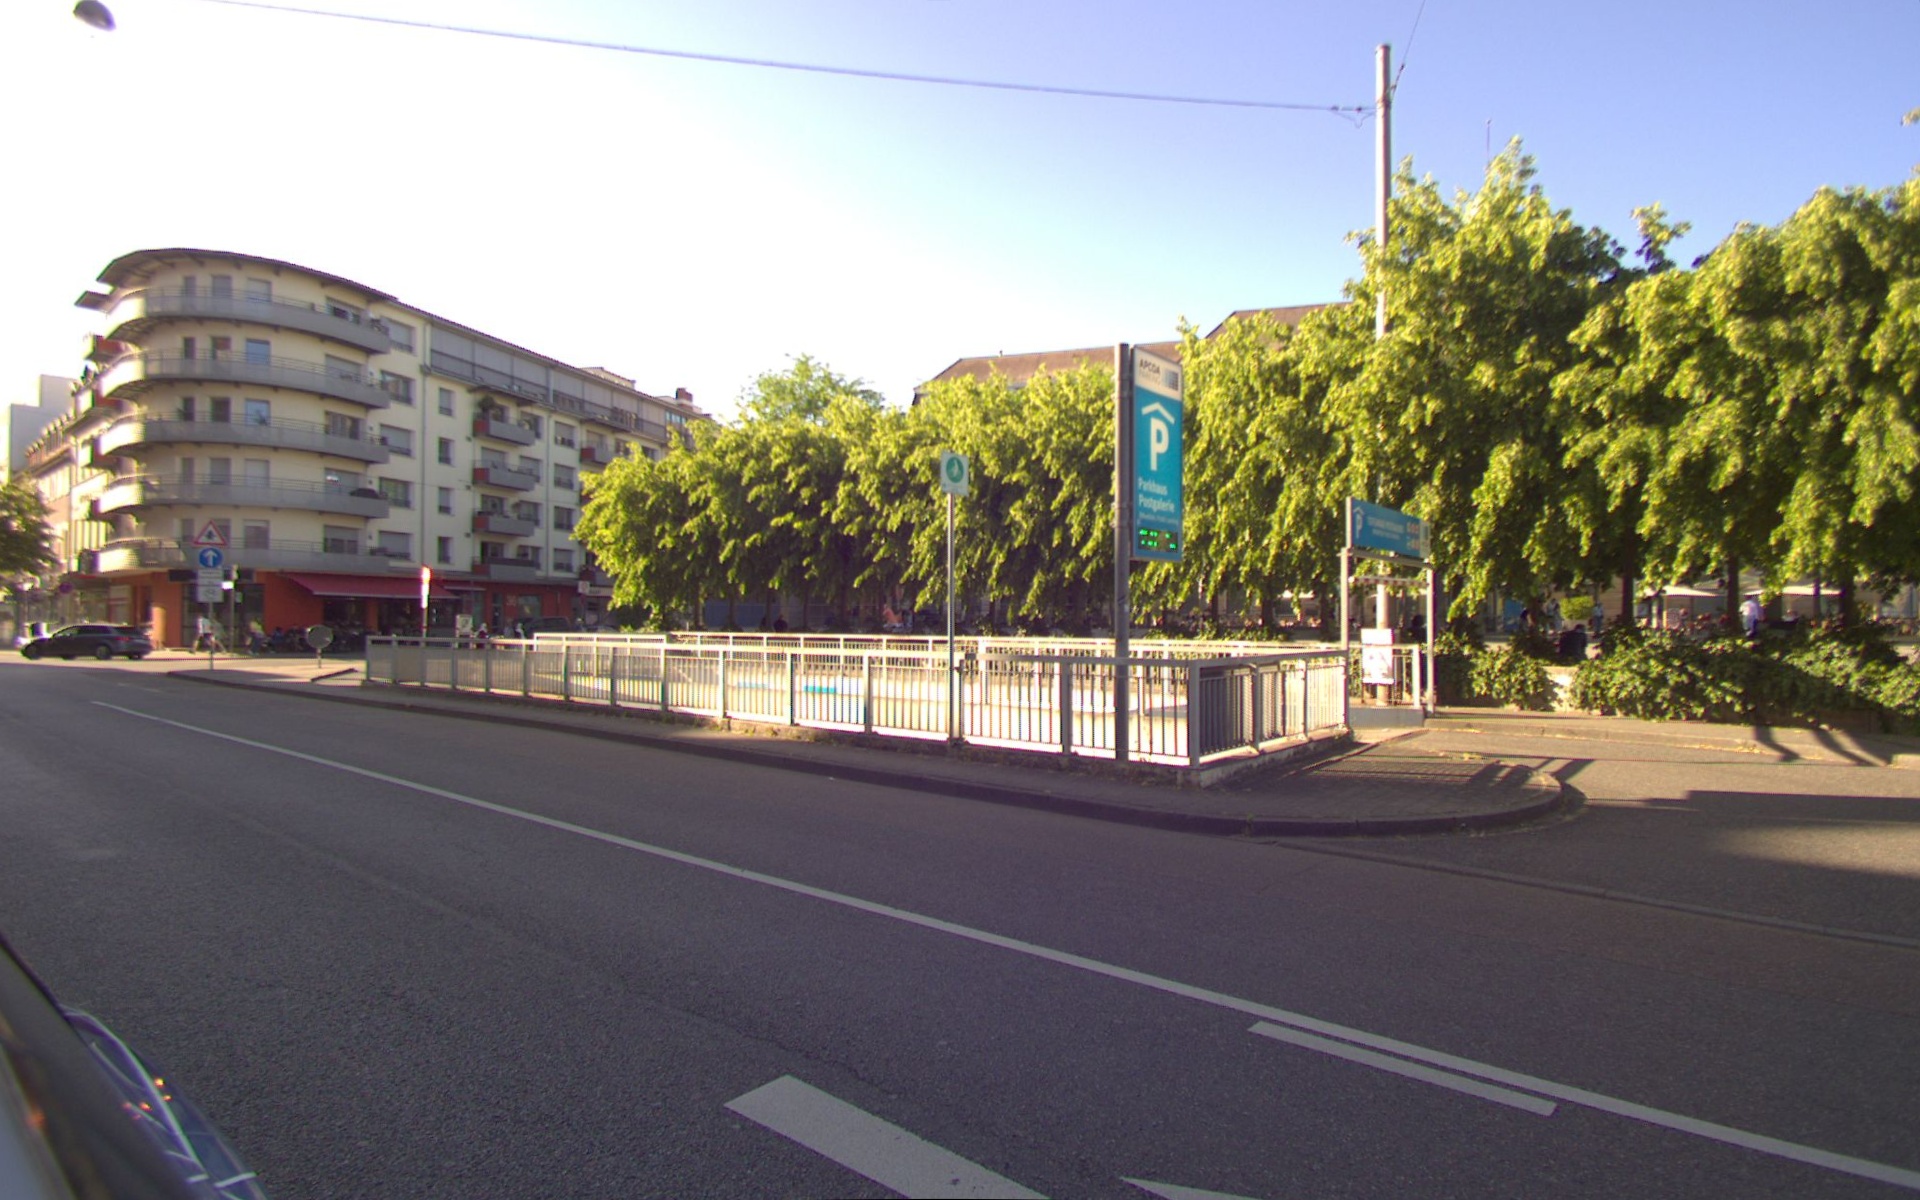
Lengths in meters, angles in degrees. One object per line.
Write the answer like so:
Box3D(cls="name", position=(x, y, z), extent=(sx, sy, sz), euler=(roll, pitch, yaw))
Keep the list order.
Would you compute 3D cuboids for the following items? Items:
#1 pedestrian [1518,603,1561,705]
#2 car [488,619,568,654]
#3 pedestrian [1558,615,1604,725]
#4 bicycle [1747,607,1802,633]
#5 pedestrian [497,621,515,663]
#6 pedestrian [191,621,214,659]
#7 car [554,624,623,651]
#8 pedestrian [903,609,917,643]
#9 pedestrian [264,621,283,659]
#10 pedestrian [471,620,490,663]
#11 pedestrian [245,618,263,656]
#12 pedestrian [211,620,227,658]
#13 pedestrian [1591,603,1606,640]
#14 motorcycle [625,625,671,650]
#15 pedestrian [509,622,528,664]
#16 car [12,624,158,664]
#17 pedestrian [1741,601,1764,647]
Box3D(cls="pedestrian", position=(10.916, 0.996, 19.072), extent=(0.674, 1.870, 0.577), euler=(-1, 0, 30))
Box3D(cls="car", position=(-25.015, 2.081, 58.746), extent=(1.938, 1.927, 4.403), euler=(-1, -1, 17))
Box3D(cls="pedestrian", position=(10.934, 1.213, 17.817), extent=(0.600, 1.870, 0.575), euler=(-1, -1, 38))
Box3D(cls="bicycle", position=(33.696, 0.828, 41.917), extent=(0.496, 1.024, 2.061), euler=(-1, 0, -3))
Box3D(cls="pedestrian", position=(-19.900, 1.819, 44.363), extent=(0.574, 1.806, 0.602), euler=(-1, 0, -4))
Box3D(cls="pedestrian", position=(-33.380, 1.764, 44.587), extent=(0.790, 1.634, 0.565), euler=(-1, -1, 29))
Box3D(cls="car", position=(-23.482, 2.351, 64.098), extent=(1.938, 1.633, 4.272), euler=(-1, -1, 17))
Box3D(cls="pedestrian", position=(-2.740, 1.403, 55.166), extent=(0.578, 1.806, 0.597), euler=(-1, 0, 21))
Box3D(cls="pedestrian", position=(-31.462, 1.809, 46.386), extent=(0.642, 1.721, 0.568), euler=(-2, -2, 43))
Box3D(cls="pedestrian", position=(-20.588, 1.762, 43.445), extent=(0.574, 1.806, 0.602), euler=(-1, 0, -4))
Box3D(cls="pedestrian", position=(-32.361, 1.677, 46.412), extent=(0.642, 1.721, 0.568), euler=(-2, -2, 43))
Box3D(cls="pedestrian", position=(-33.043, 1.721, 45.103), extent=(0.515, 1.685, 0.437), euler=(-1, -1, 35))
Box3D(cls="pedestrian", position=(31.456, 1.076, 49.884), extent=(0.599, 1.806, 0.576), euler=(-1, 0, 31))
Box3D(cls="motorcycle", position=(-14.383, 1.723, 46.655), extent=(1.898, 1.110, 0.684), euler=(0, -1, -27))
Box3D(cls="pedestrian", position=(-19.679, 1.913, 45.093), extent=(0.574, 1.806, 0.601), euler=(-1, 0, 0))
Box3D(cls="car", position=(-33.236, 1.640, 38.519), extent=(3.865, 1.407, 1.810), euler=(-1, -1, -7))
Box3D(cls="pedestrian", position=(31.833, 0.958, 40.642), extent=(0.598, 1.806, 0.577), euler=(-1, 0, 27))
